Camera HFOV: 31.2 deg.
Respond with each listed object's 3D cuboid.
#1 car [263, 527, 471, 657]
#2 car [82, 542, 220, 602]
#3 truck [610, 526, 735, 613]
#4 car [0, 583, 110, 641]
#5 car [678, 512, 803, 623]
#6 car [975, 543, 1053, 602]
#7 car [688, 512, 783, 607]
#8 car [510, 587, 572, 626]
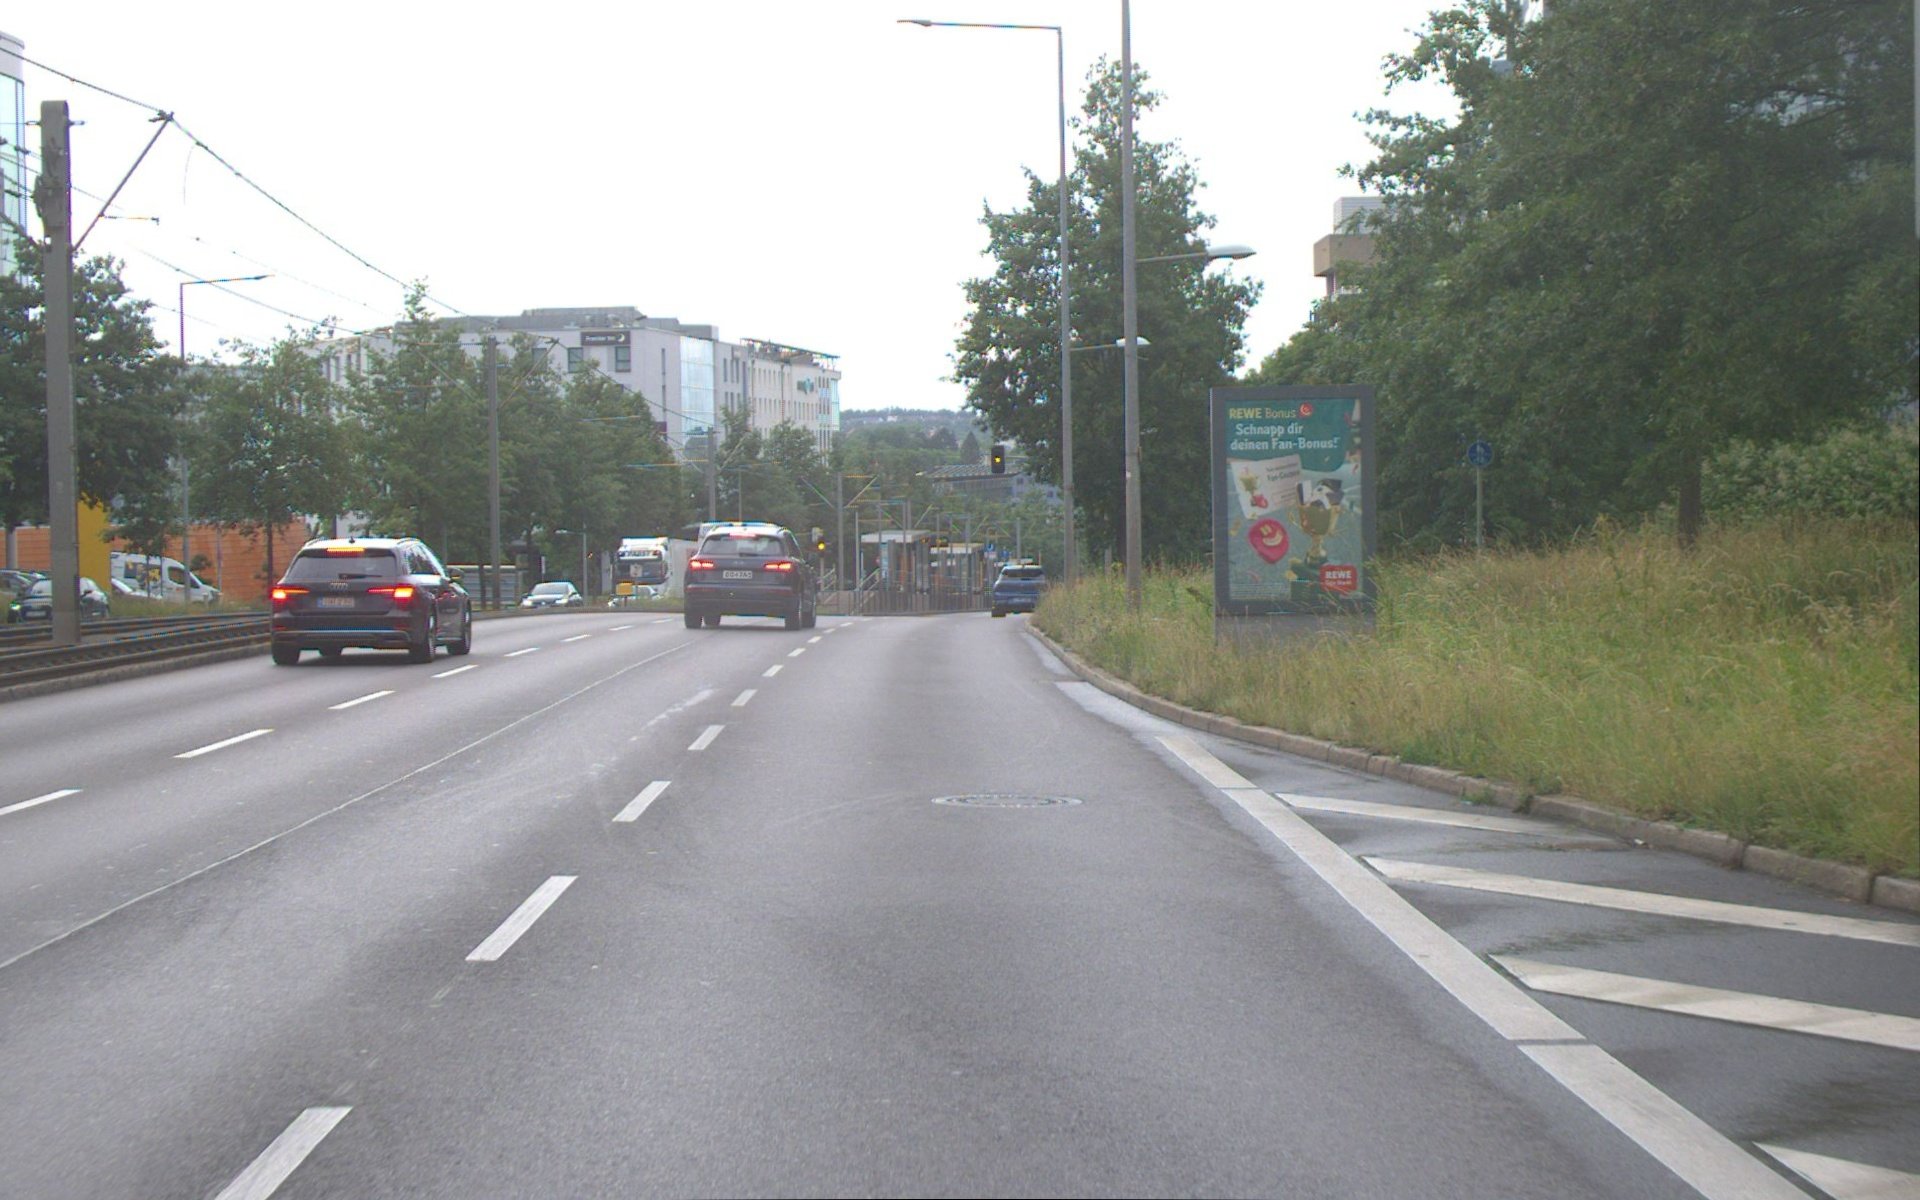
[{"bbox_3d":[-6.846,-0.140,40.137,1.785,1.409,4.806,1,1,-2],"label":"car"},{"bbox_3d":[-32.321,-1.108,137.494,5.301,2.305,2.021,1,-1,-13],"label":"car"},{"bbox_3d":[-14.417,-1.597,174.210,3.043,4.166,17.198,1,1,6],"label":"truck"},{"bbox_3d":[-23.265,0.319,88.404,1.667,1.457,4.238,1,0,1],"label":"car"},{"bbox_3d":[-3.588,-0.552,55.878,1.922,1.704,4.099,1,1,-4],"label":"car"},{"bbox_3d":[1.485,-0.765,95.789,1.789,1.585,4.001,-1,1,-4],"label":"car"},{"bbox_3d":[-5.634,-1.034,86.022,2.267,2.277,4.760,1,1,-4],"label":"car"},{"bbox_3d":[-15.896,0.256,130.596,1.667,1.457,4.238,1,0,2],"label":"car"}]
